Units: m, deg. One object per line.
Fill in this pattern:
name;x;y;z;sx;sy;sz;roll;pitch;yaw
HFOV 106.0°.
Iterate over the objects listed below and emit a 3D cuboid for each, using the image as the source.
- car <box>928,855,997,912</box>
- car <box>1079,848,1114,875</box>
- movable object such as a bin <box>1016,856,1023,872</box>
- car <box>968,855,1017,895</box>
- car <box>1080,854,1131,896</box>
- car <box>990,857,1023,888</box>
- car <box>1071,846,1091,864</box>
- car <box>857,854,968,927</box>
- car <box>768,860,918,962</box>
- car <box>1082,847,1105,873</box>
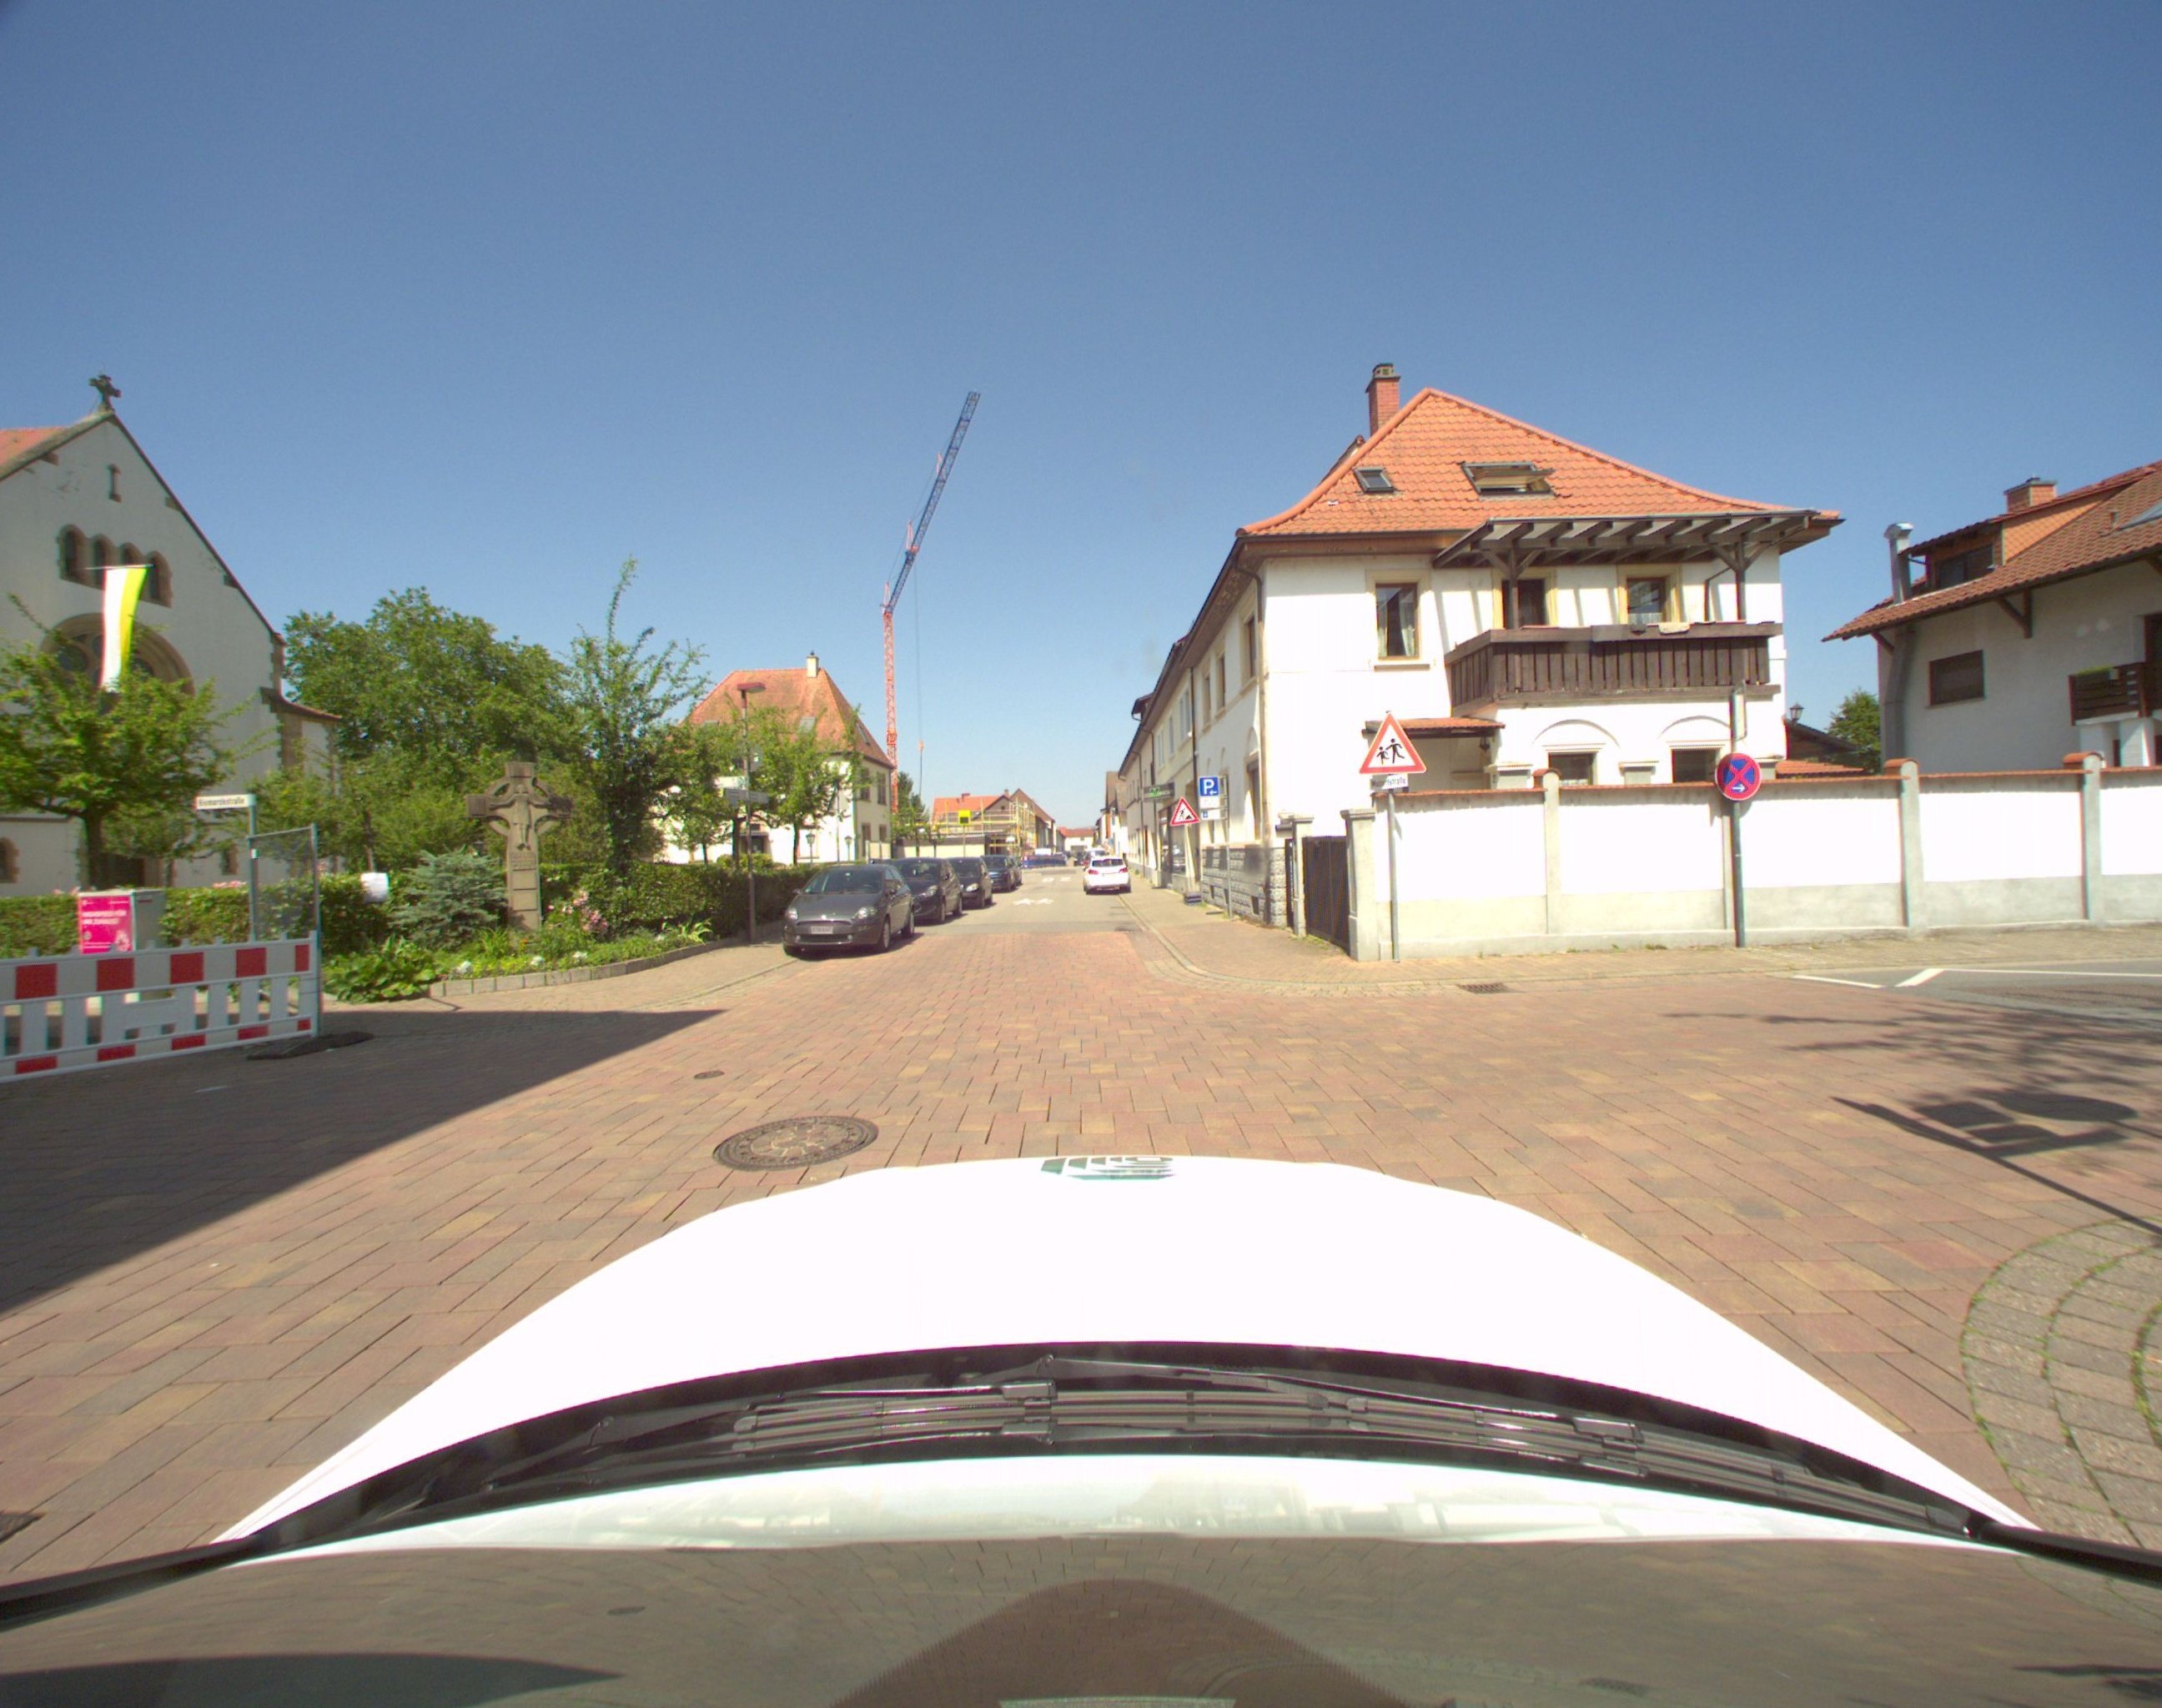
car;-3.751;0.889;26.252;1.633;1.628;3.767;-2;0;-1
car;0.962;0.449;53.042;1.880;1.556;3.890;-5;1;-3
movable object such as a bin;-4.701;0.754;62.181;0.431;1.155;0.363;-2;0;-10
car;-3.941;0.896;37.031;1.821;1.630;4.214;-2;0;-2
car;1.036;0.797;33.324;1.879;1.542;4.245;-2;0;3
car;-3.849;0.916;42.463;1.432;1.474;3.785;-2;1;-1
car;0.004;0.117;81.722;1.876;1.668;4.152;-2;0;-1
car;-4.121;0.837;20.576;1.809;1.605;4.026;-2;0;1
car;-4.123;0.904;14.716;1.698;1.496;3.852;-2;0;-3
car;0.884;0.384;58.412;1.559;1.613;3.542;-2;2;0
